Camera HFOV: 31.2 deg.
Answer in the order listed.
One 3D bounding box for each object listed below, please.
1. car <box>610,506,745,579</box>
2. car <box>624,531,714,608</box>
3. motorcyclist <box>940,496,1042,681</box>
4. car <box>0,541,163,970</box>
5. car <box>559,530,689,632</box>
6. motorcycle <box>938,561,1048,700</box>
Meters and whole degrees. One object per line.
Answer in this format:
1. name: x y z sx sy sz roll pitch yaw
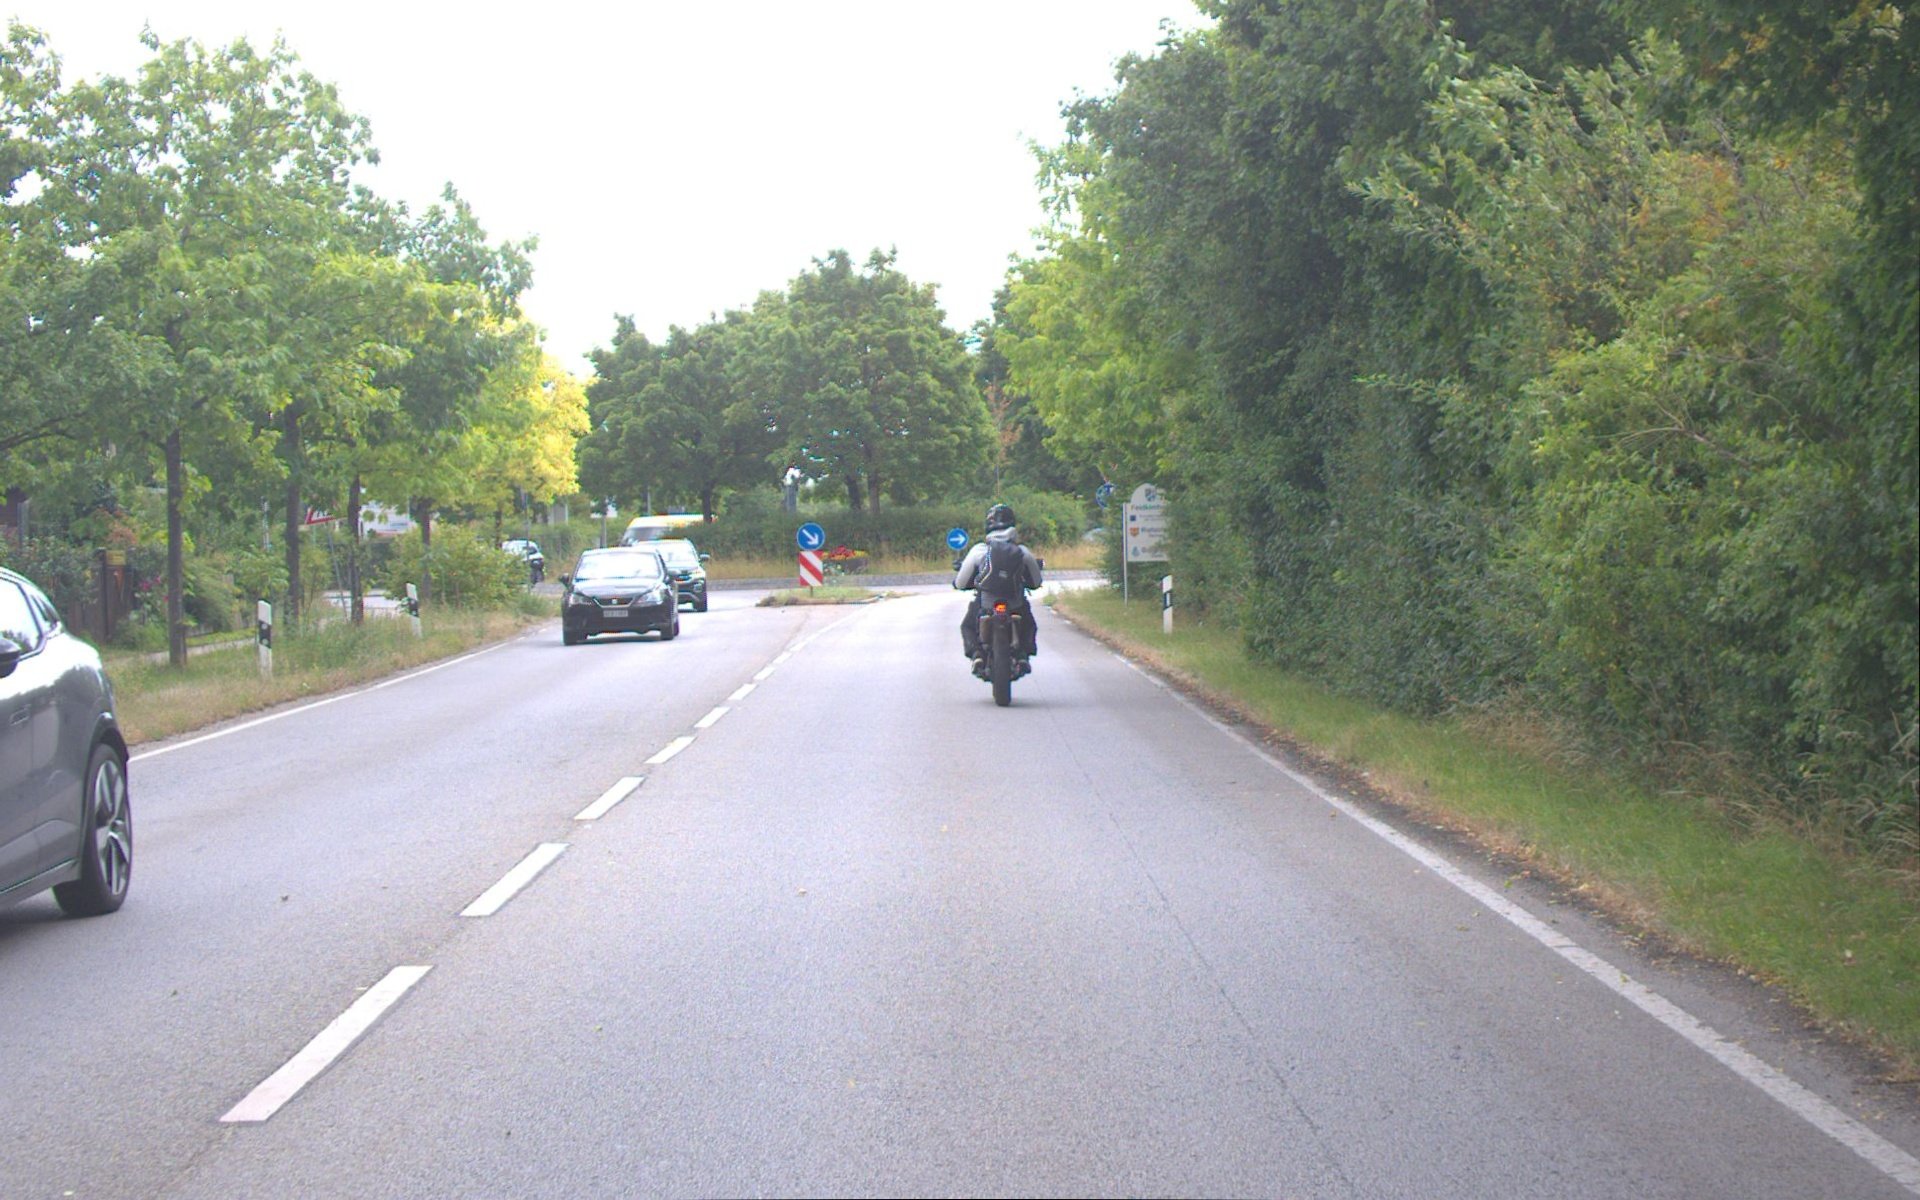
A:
1. car: -10.092 -2.077 123.380 2.165 2.443 5.434 -1 2 28
2. car: -6.184 -0.672 73.360 1.733 1.529 4.096 -3 1 -3
3. motorcyclist: 0.272 -0.113 30.938 0.861 1.618 1.191 -1 1 -1
4. car: -4.311 0.575 12.585 1.815 1.488 4.204 -2 1 -1
5. car: -5.138 -0.322 52.999 1.676 1.406 4.013 -3 1 -2
6. motorcycle: 0.279 0.245 30.823 0.896 1.154 2.620 -1 1 -1
